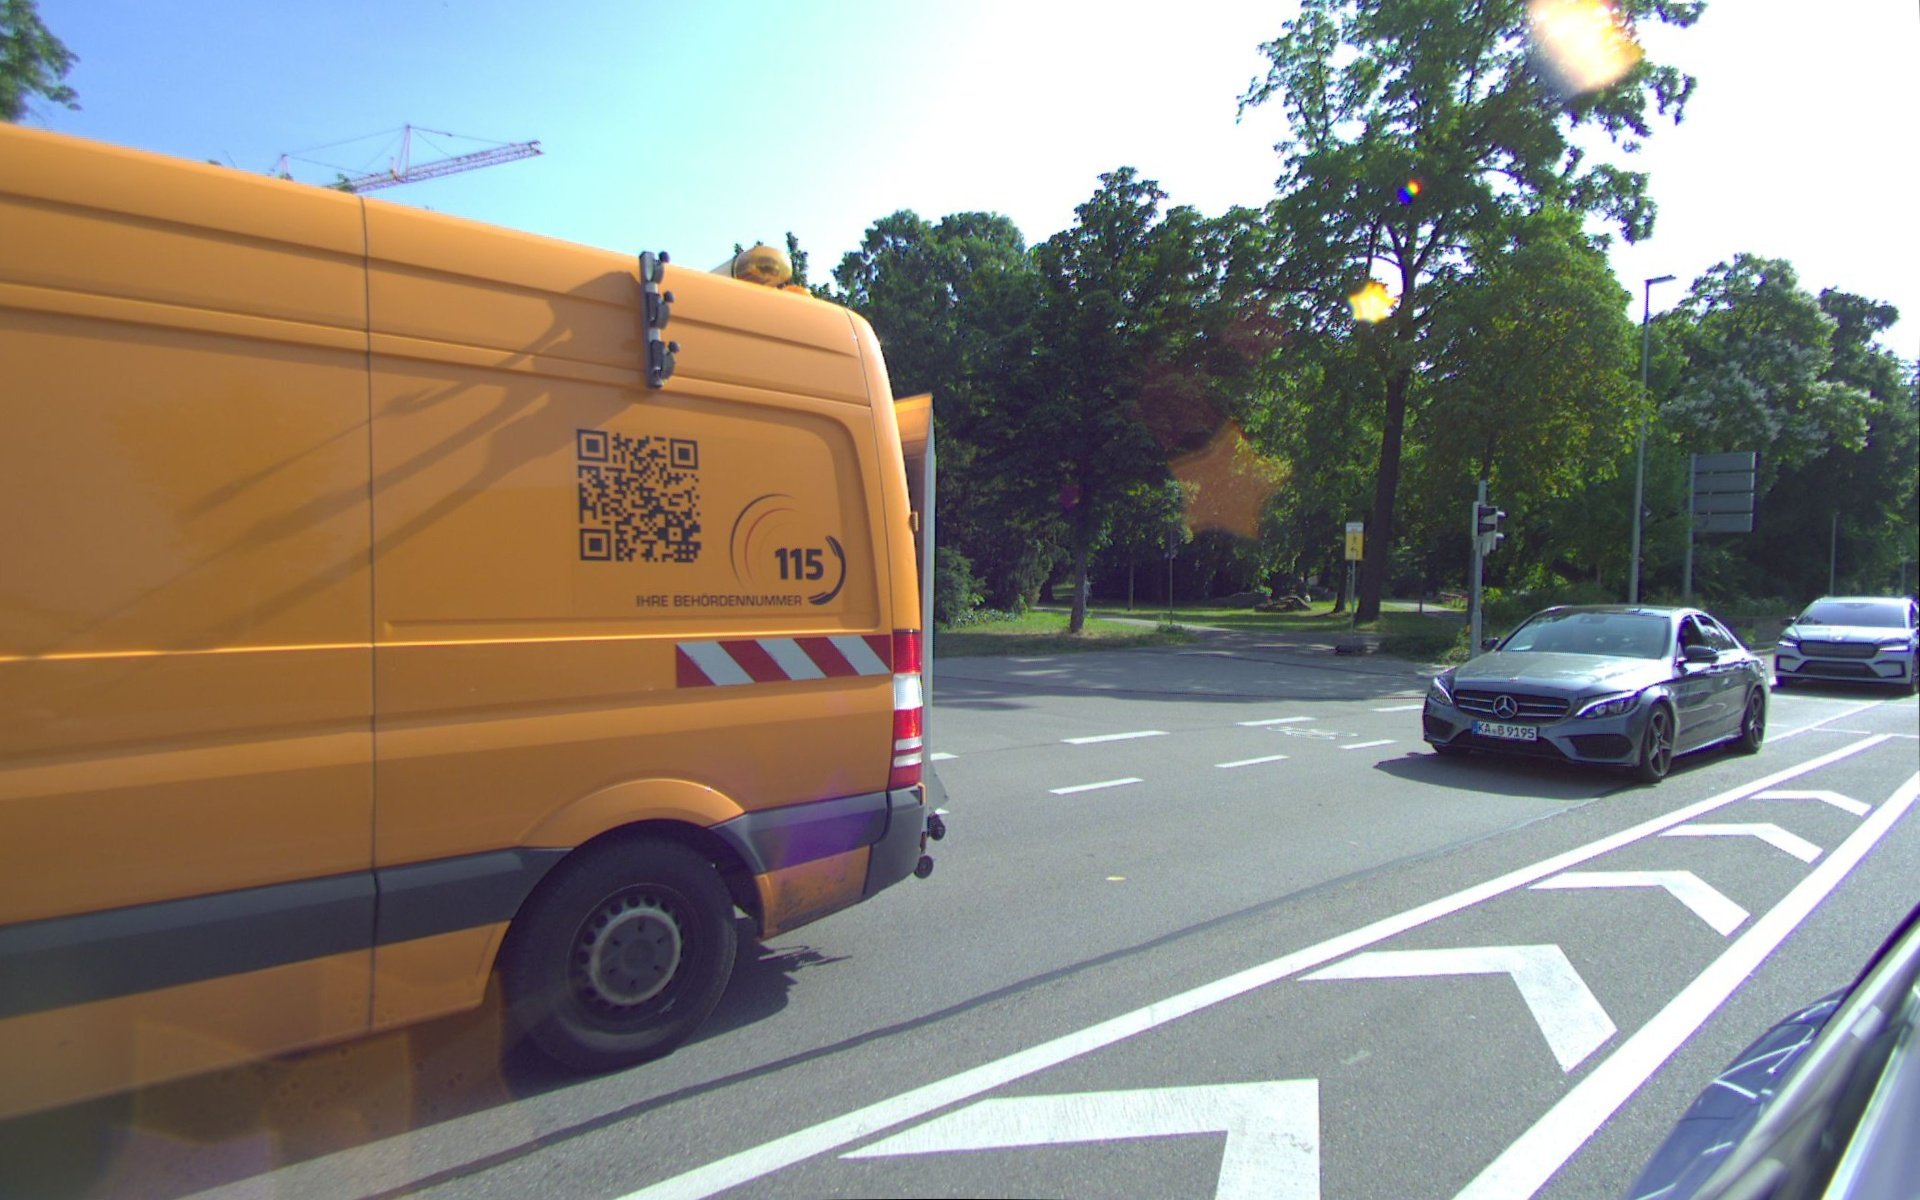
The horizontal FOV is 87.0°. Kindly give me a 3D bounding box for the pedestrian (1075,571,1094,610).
[{"bbox_3d":[4.978,-0.397,40.467,0.523,1.536,0.671,1,1,-9],"label":"pedestrian"}]

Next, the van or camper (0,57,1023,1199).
[{"bbox_3d":[-2.725,0.081,2.862,5.950,2.503,1.991,0,1,-38],"label":"van or camper"}]

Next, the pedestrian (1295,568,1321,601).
[{"bbox_3d":[20.421,-0.908,59.401,1.048,1.853,0.987,1,1,-11],"label":"pedestrian"}]

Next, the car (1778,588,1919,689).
[{"bbox_3d":[16.272,0.589,18.052,4.176,1.590,1.896,0,1,-41],"label":"car"}]
